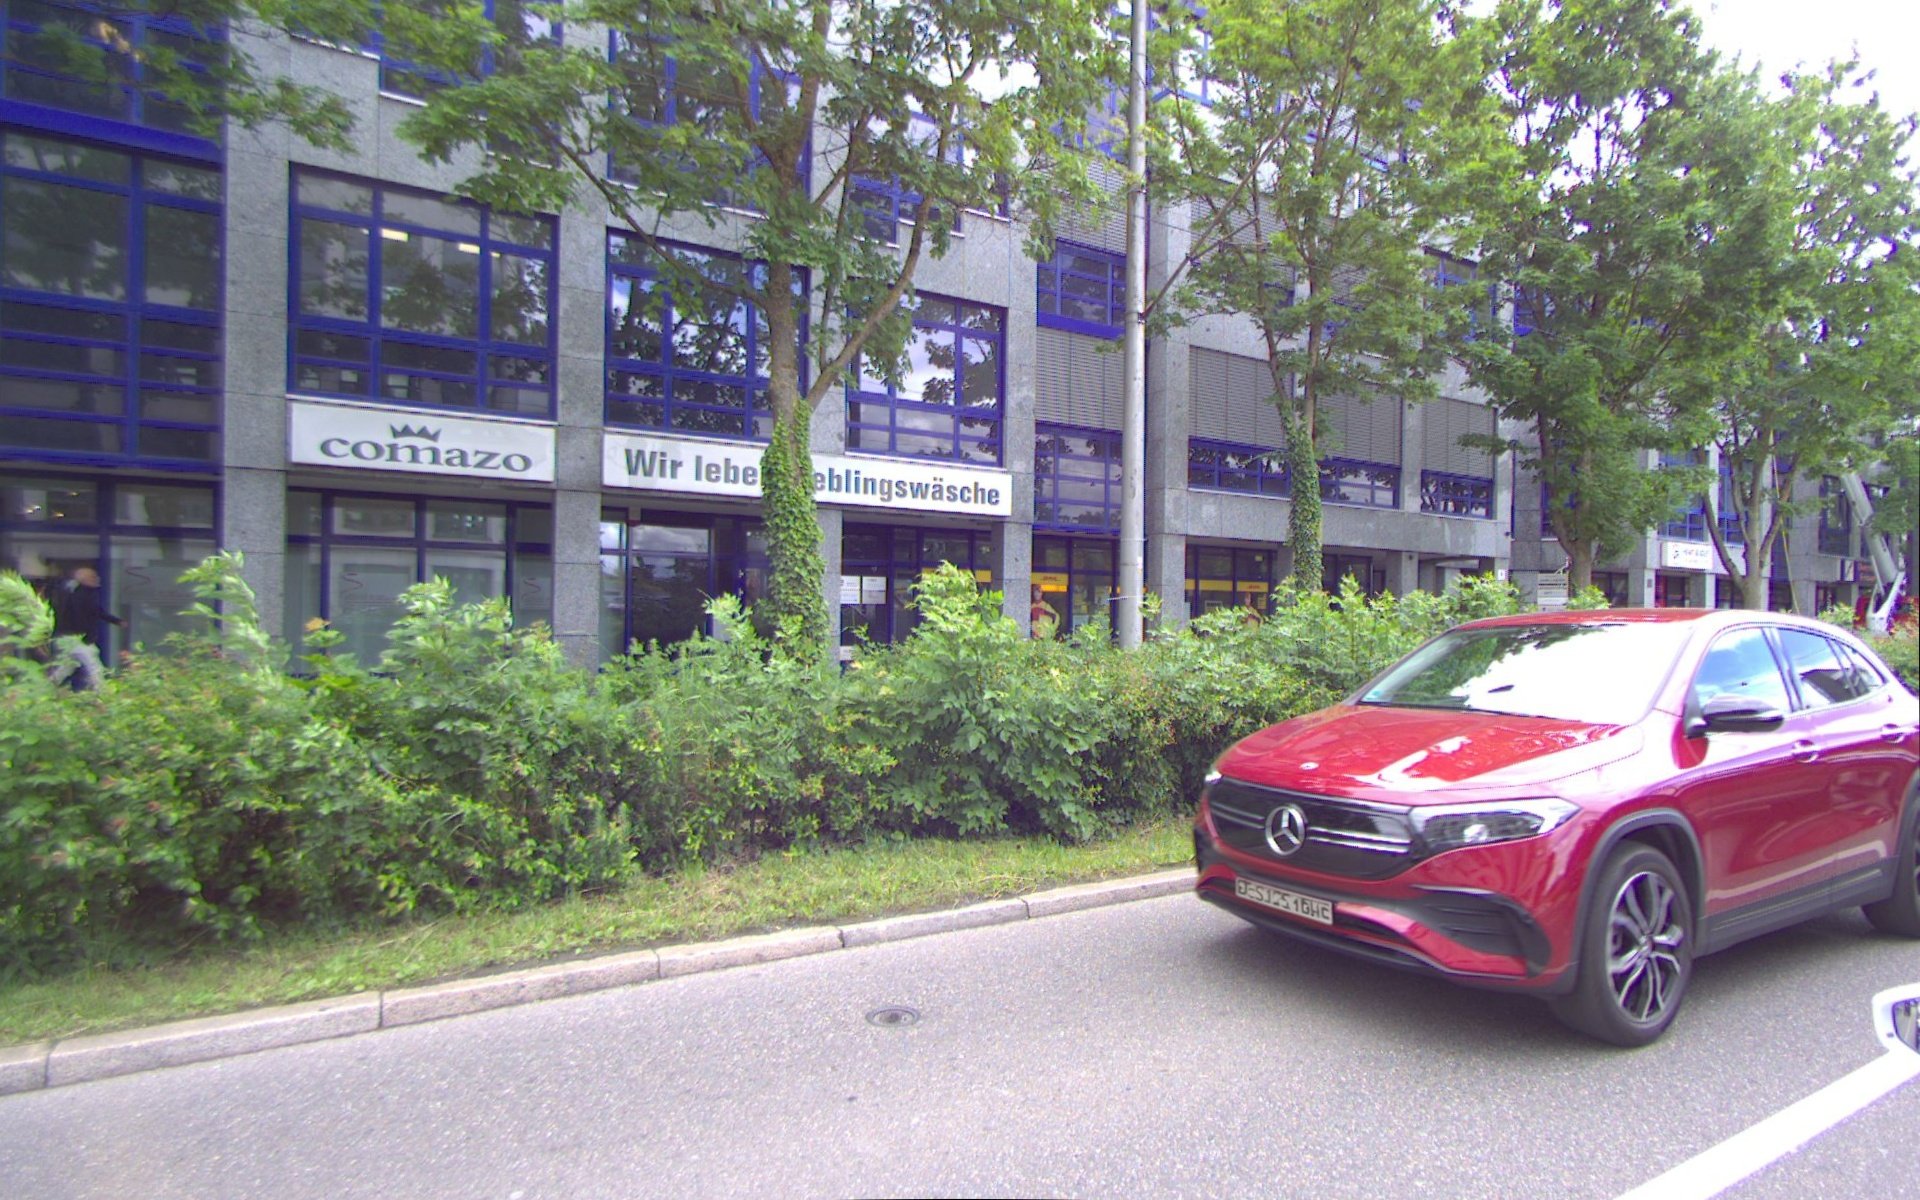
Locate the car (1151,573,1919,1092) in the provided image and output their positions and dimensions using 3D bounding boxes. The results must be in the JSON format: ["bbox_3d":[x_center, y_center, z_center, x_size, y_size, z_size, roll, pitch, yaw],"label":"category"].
[{"bbox_3d":[3.113,0.819,4.928,4.066,1.601,1.840,2,-3,-29],"label":"car"}]

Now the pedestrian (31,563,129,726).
[{"bbox_3d":[-10.777,0.528,12.327,0.723,1.919,0.770,2,0,-31],"label":"pedestrian"}]

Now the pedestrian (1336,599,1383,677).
[{"bbox_3d":[9.941,0.935,25.024,0.723,1.919,0.771,2,0,-30],"label":"pedestrian"}]
